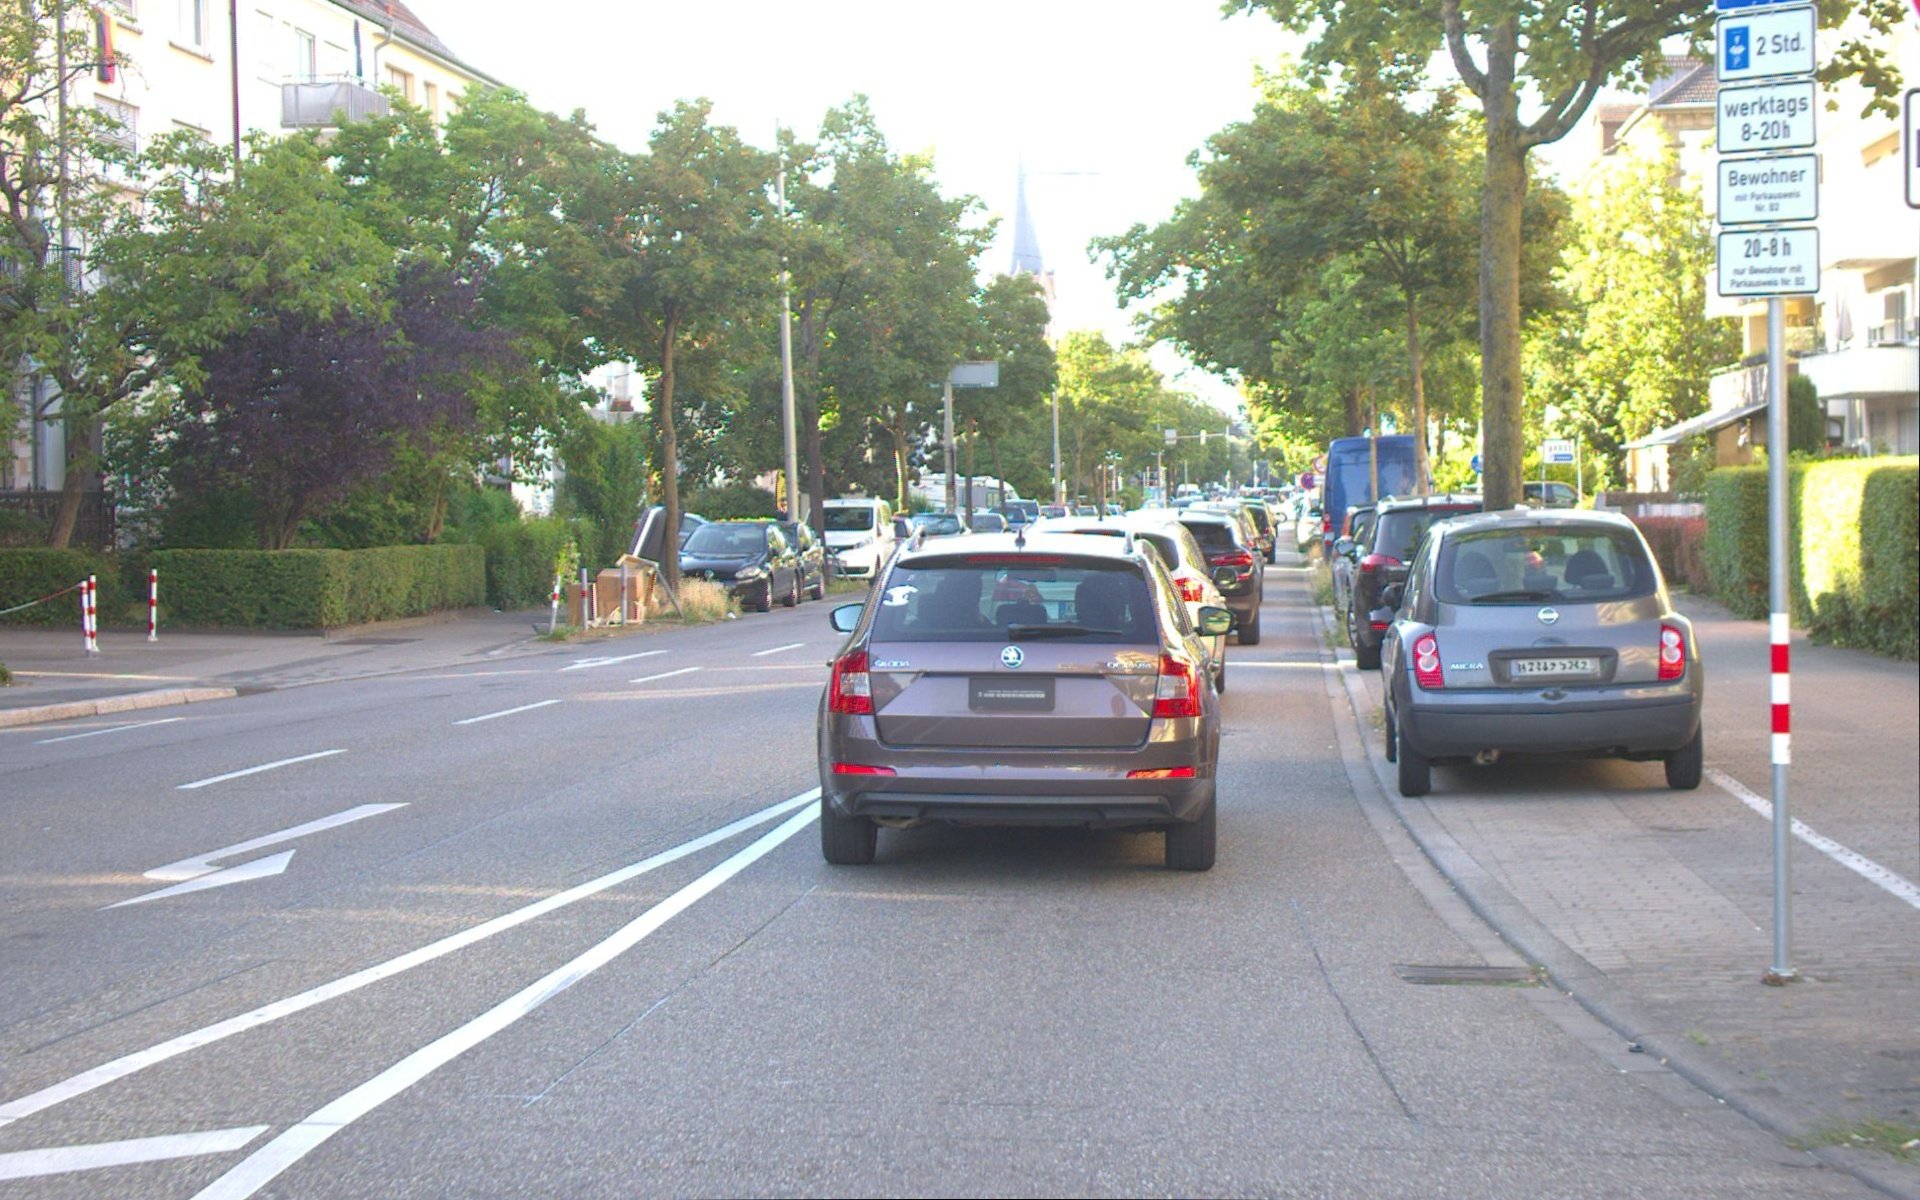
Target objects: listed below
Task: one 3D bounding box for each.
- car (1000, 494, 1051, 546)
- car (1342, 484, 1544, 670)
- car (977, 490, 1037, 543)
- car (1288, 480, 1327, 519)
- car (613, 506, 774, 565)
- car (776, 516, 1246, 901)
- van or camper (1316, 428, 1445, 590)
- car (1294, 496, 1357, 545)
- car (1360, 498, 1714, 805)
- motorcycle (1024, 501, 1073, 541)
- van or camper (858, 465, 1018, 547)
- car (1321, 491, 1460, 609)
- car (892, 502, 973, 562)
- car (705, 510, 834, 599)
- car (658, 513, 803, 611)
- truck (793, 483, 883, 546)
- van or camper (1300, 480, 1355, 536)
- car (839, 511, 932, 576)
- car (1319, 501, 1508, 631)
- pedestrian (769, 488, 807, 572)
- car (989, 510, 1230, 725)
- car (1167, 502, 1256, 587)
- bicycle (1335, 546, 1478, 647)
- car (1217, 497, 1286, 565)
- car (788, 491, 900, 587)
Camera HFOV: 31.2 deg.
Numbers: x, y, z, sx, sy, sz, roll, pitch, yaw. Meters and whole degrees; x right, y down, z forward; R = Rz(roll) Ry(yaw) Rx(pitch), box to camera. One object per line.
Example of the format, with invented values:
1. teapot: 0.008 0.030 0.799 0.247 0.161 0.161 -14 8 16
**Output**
1. car: 2.324 -2.845 121.352 1.507 1.751 3.693 -1 2 5
2. car: 4.637 -0.280 33.443 1.733 1.645 4.291 -1 2 5
3. car: 1.614 -2.851 116.732 1.750 1.734 3.590 -1 2 5
4. car: 16.675 -4.831 165.174 1.730 1.809 3.951 -1 2 4
5. car: -6.937 -1.694 89.853 3.987 1.474 2.000 0 2 2
6. car: 0.365 0.399 15.934 1.730 1.488 3.950 -1 2 7
7. van or camper: 7.316 -1.581 60.300 2.068 2.666 5.989 -1 1 6
8. car: 11.267 -2.446 105.777 1.821 1.408 4.110 -1 2 7
9. car: 3.223 0.222 19.782 1.733 1.545 3.646 -1 2 5
10. motorcycle: 3.382 -3.033 131.570 0.764 1.506 2.030 -3 3 -37
11. van or camper: -1.045 -4.603 168.431 7.641 3.861 2.000 -1 2 4
12. car: 6.273 -0.742 50.377 1.773 1.636 3.757 -1 1 4
13. car: -0.722 -1.831 92.190 1.717 1.492 4.247 -1 2 6
14. car: -3.430 -0.857 62.636 1.750 1.497 3.978 -1 2 5
15. car: -3.811 -0.662 57.709 1.750 1.497 4.196 -1 2 5
16. truck: -4.200 -2.960 118.779 2.914 2.086 1.546 -1 2 5
17. van or camper: 13.833 -3.472 129.516 1.994 2.006 4.000 -1 2 5
18. car: -1.708 -1.342 80.333 1.717 1.416 3.786 -1 2 6
19. car: 5.708 -0.474 43.774 1.920 1.481 4.746 -1 2 2
20. pedestrian: -4.197 -1.719 83.819 0.767 2.006 0.976 -1 2 5
21. car: 1.150 0.077 27.012 1.729 1.488 3.951 -1 2 2
22. car: 5.230 -1.167 71.228 1.733 1.645 3.541 -1 2 5
23. bicycle: 4.887 -0.044 37.623 1.476 1.055 0.412 -1 2 -7
24. car: 7.546 -1.800 88.770 1.733 1.645 3.541 -1 2 5
25. car: -2.424 -1.332 72.982 1.770 1.912 4.459 -1 2 6
